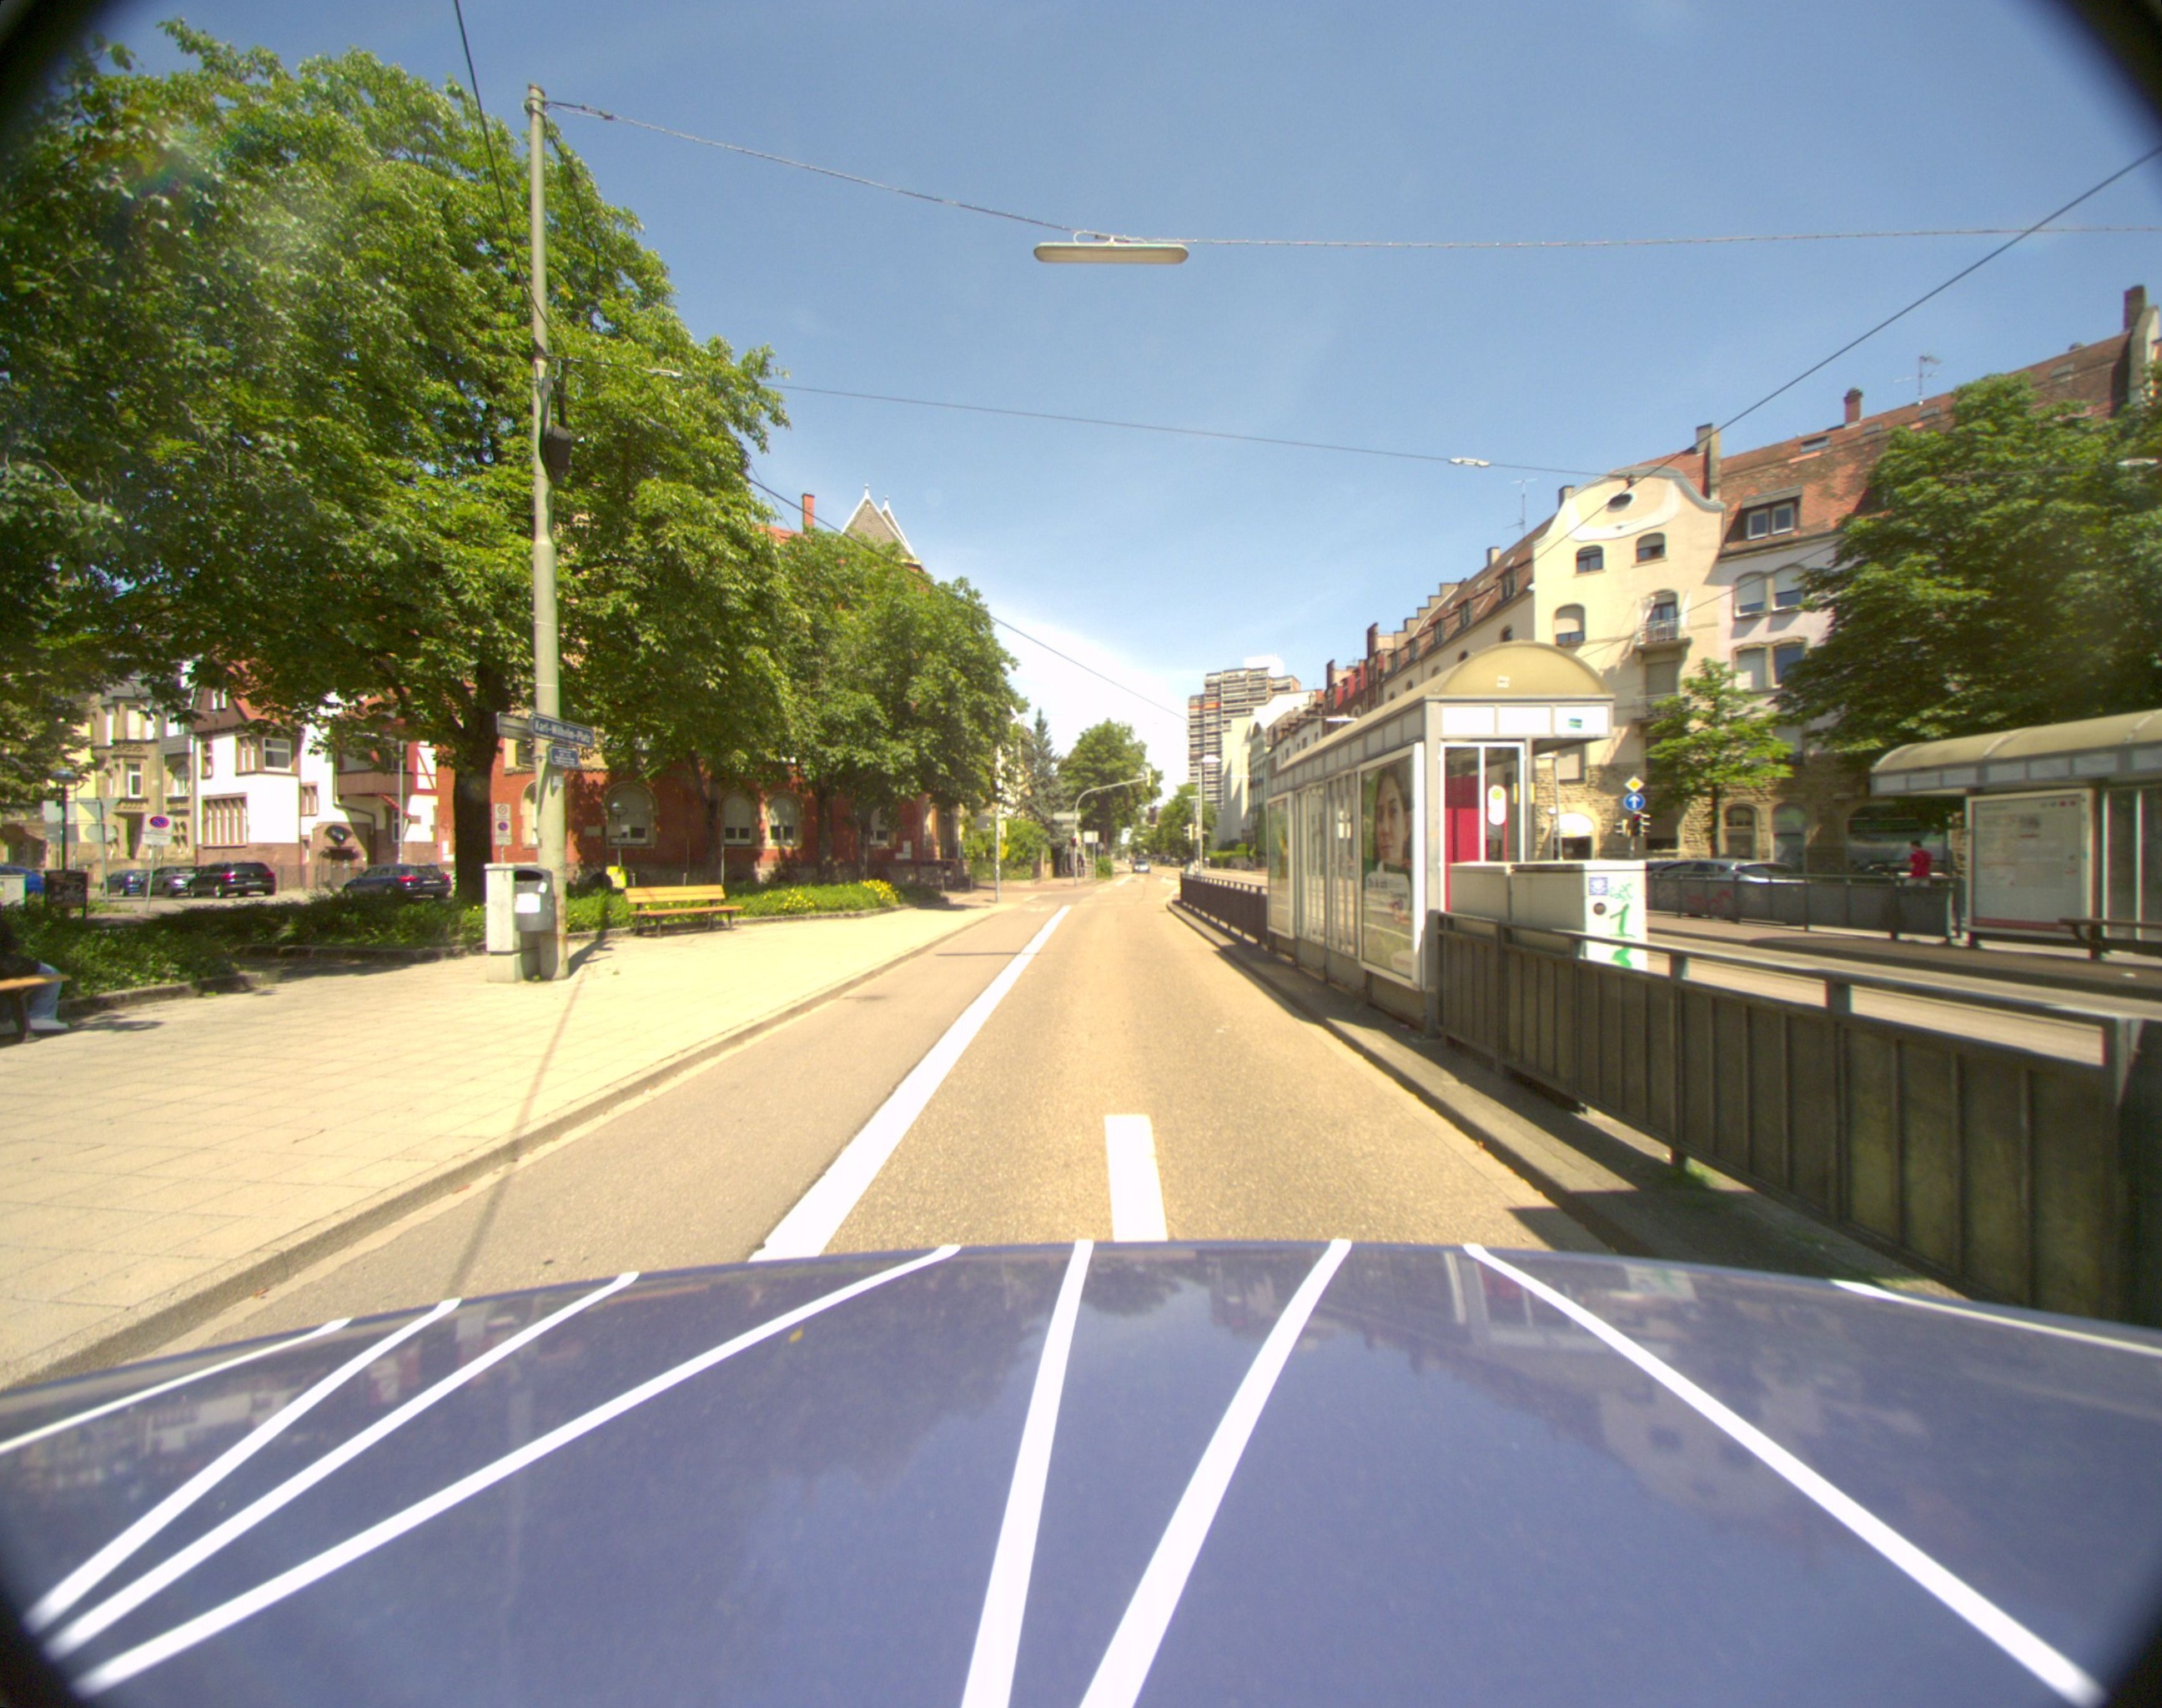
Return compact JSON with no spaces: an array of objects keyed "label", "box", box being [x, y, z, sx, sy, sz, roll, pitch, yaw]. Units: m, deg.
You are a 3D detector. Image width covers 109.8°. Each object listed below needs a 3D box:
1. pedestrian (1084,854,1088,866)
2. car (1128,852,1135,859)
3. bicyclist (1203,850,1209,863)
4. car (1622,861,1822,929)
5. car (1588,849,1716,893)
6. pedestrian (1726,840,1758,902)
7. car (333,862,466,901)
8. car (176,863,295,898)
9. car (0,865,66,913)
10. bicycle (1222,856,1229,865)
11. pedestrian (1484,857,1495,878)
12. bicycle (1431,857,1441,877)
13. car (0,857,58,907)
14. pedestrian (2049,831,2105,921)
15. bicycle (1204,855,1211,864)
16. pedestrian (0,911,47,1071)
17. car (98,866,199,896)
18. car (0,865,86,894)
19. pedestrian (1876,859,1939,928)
[{"label":"pedestrian","box":[0.641,0.786,99.538,0.547,1.683,0.755,0,1,1]},{"label":"car","box":[15.753,0.453,239.178,1.998,2.002,4.000,-1,1,1]},{"label":"bicyclist","box":[15.791,0.317,95.827,0.609,1.565,0.585,-1,1,1]},{"label":"car","box":[14.735,0.868,17.751,1.544,1.331,3.718,-1,1,0]},{"label":"car","box":[21.285,0.617,28.476,3.579,1.566,1.585,-1,1,23]},{"label":"pedestrian","box":[19.488,0.493,22.420,0.511,1.812,0.494,-1,1,3]},{"label":"car","box":[-27.224,1.097,30.359,4.748,1.433,1.908,-1,1,21]},{"label":"car","box":[-39.979,1.228,35.925,5.477,1.523,1.991,-1,1,22]},{"label":"car","box":[-32.890,1.032,21.969,1.723,1.421,3.895,-1,-1,20]},{"label":"bicycle","box":[19.196,0.844,100.873,0.493,1.090,2.047,-1,0,1]},{"label":"pedestrian","box":[23.042,0.763,42.843,0.406,1.142,0.405,-1,1,-2]},{"label":"bicycle","box":[22.844,0.841,48.913,0.454,1.218,2.083,-1,1,21]},{"label":"car","box":[-37.062,0.927,24.662,1.723,1.642,4.273,-1,-1,20]},{"label":"pedestrian","box":[20.898,0.458,15.949,0.511,1.868,0.494,-1,1,6]},{"label":"bicycle","box":[15.986,0.701,95.883,0.629,1.150,1.978,-1,0,1]},{"label":"pedestrian","box":[-7.763,0.960,5.278,0.510,1.085,0.478,1,0,7]},{"label":"car","box":[-48.611,1.396,39.619,4.605,1.456,1.908,-1,1,21]},{"label":"car","box":[-59.635,1.470,43.575,4.391,1.547,1.908,-1,1,21]},{"label":"pedestrian","box":[19.732,0.924,18.153,0.681,1.596,0.773,-1,1,-2]}]
